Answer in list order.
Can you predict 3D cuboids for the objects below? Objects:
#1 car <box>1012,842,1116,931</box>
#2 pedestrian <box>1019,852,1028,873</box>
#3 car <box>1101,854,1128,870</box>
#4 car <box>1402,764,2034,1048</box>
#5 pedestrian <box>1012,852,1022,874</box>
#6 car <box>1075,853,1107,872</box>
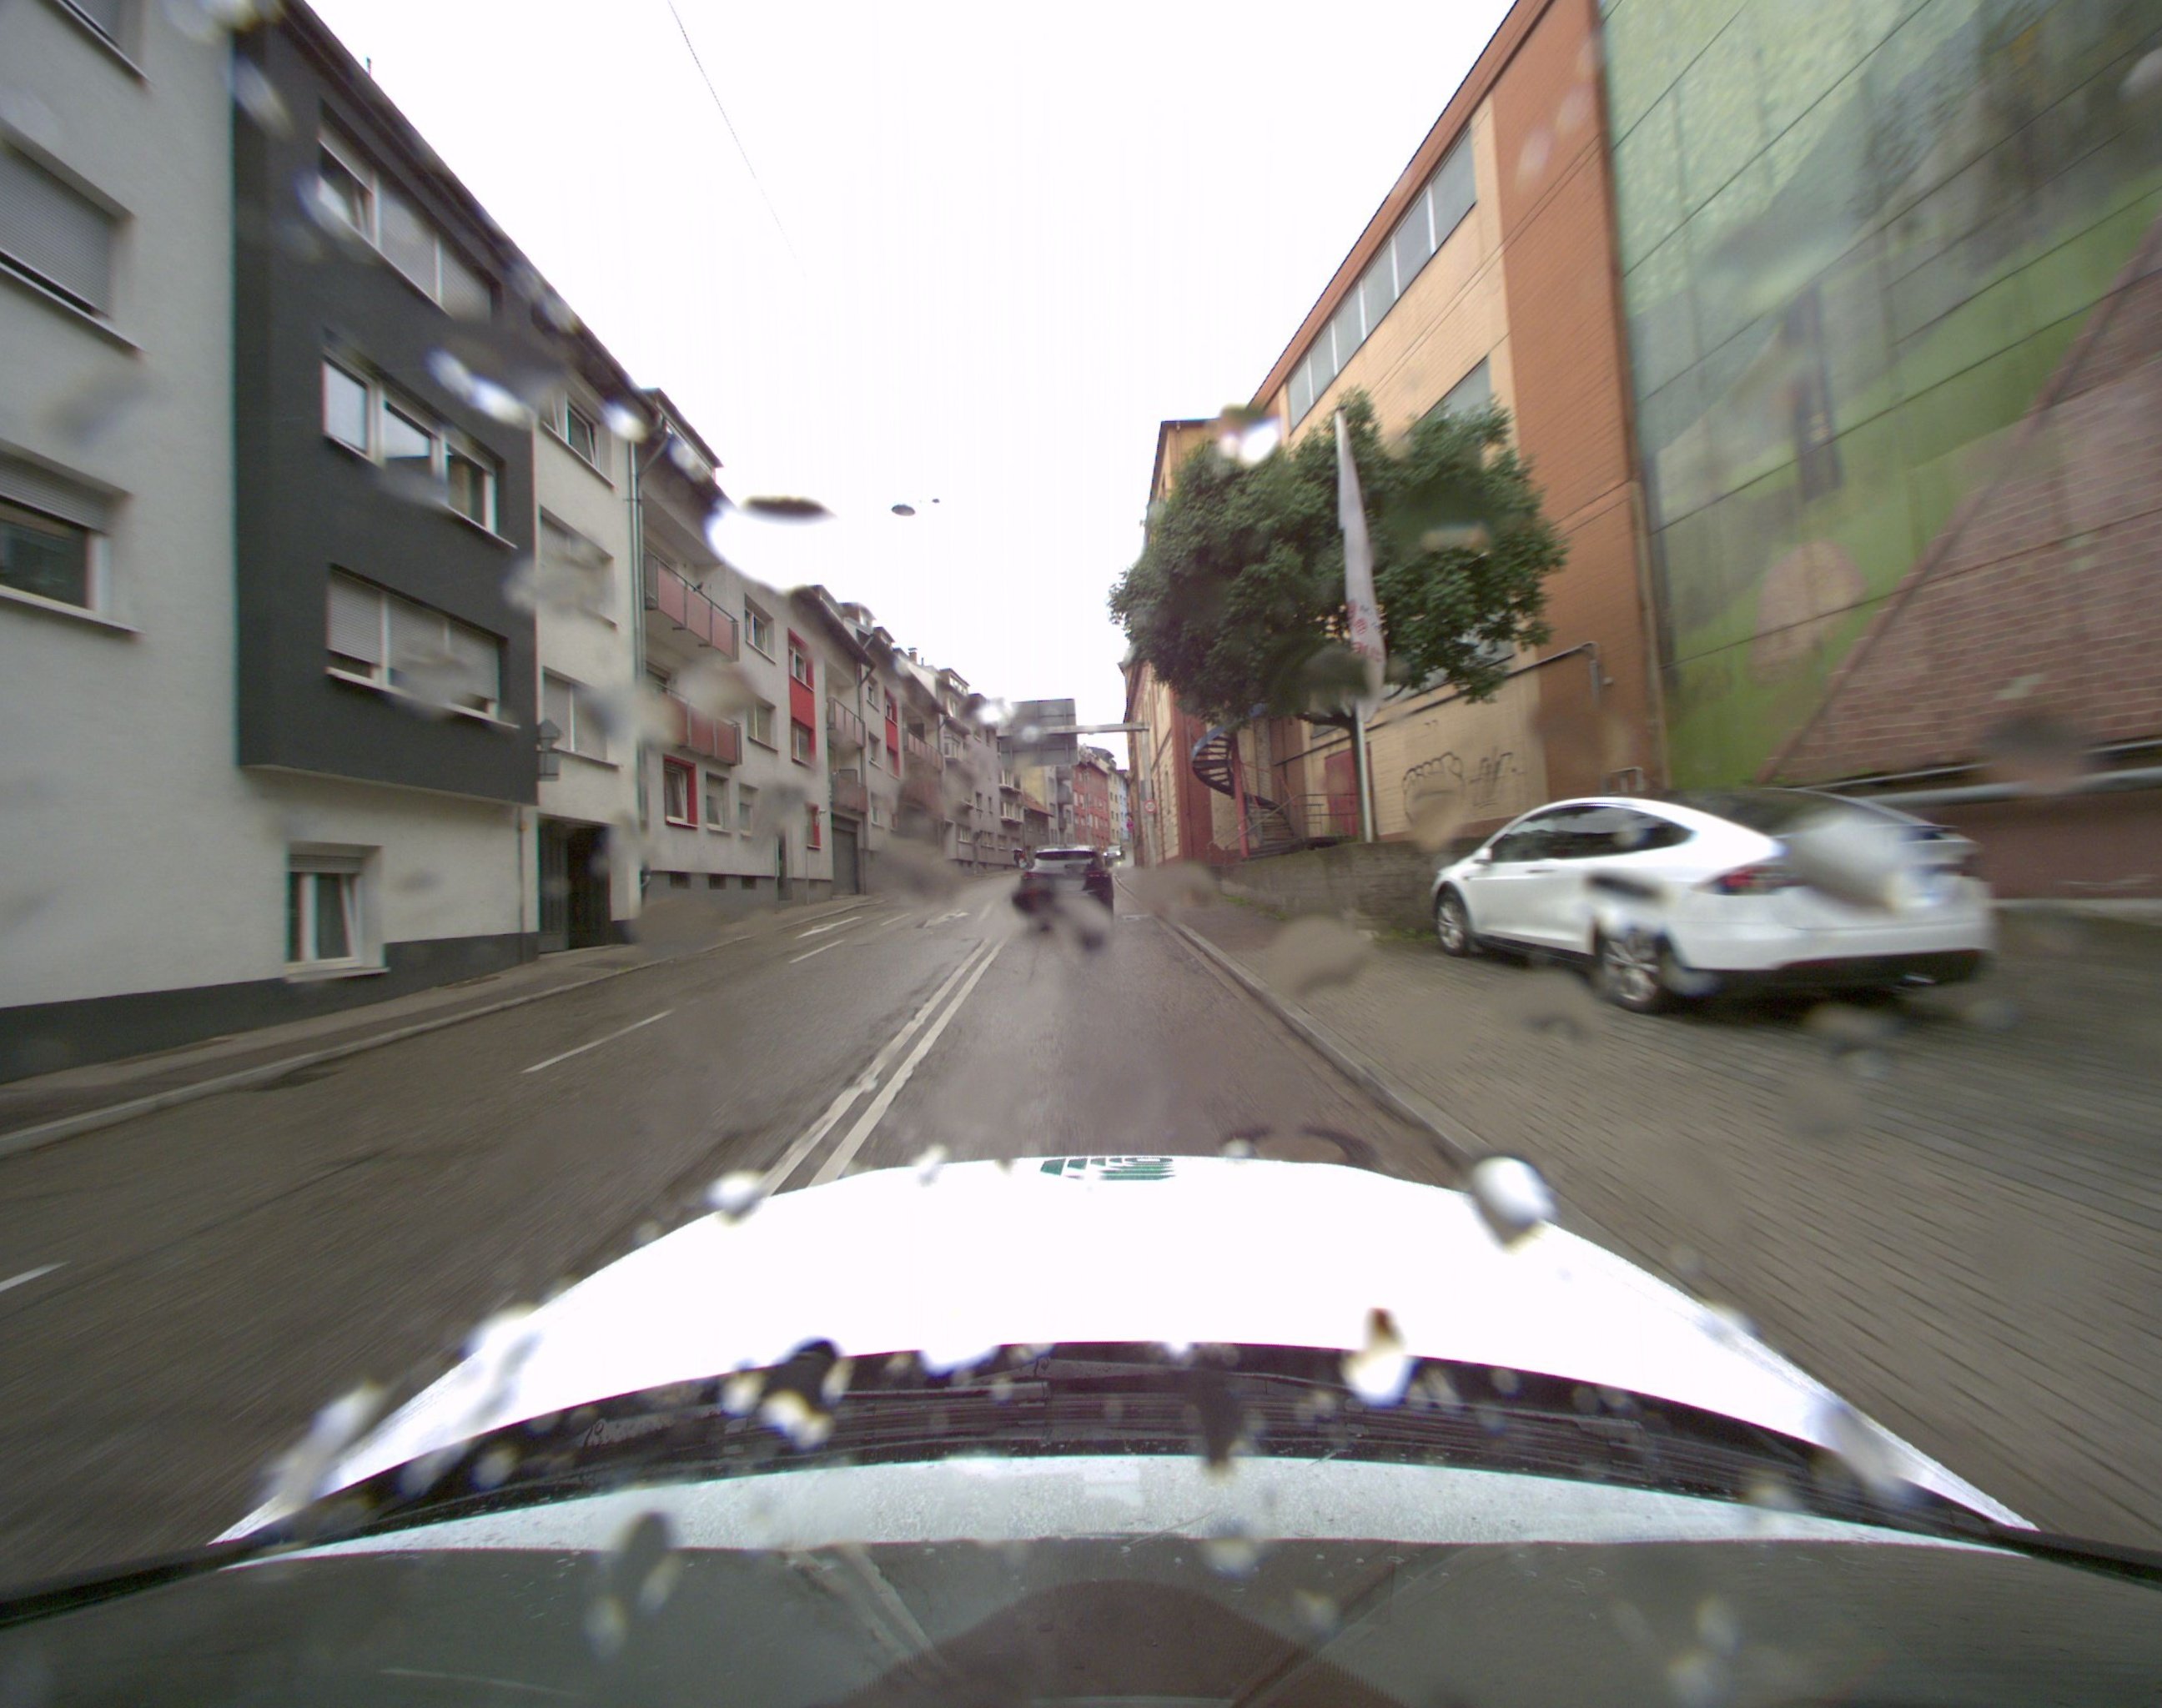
[{"bbox_3d":[-0.400,0.566,16.930,1.877,1.593,3.917,-2,1,-3],"label":"car"},{"bbox_3d":[-4.901,0.707,69.393,0.520,1.775,0.623,-5,1,6],"label":"pedestrian"},{"bbox_3d":[3.526,0.833,84.830,1.781,1.510,4.016,-5,-2,15],"label":"car"},{"bbox_3d":[4.928,0.252,7.491,1.847,1.617,4.914,-4,2,-1],"label":"car"},{"bbox_3d":[-5.451,0.752,69.438,0.520,1.775,0.623,-5,1,6],"label":"pedestrian"},{"bbox_3d":[0.909,0.747,72.943,1.781,1.510,4.016,-5,-2,15],"label":"car"}]
